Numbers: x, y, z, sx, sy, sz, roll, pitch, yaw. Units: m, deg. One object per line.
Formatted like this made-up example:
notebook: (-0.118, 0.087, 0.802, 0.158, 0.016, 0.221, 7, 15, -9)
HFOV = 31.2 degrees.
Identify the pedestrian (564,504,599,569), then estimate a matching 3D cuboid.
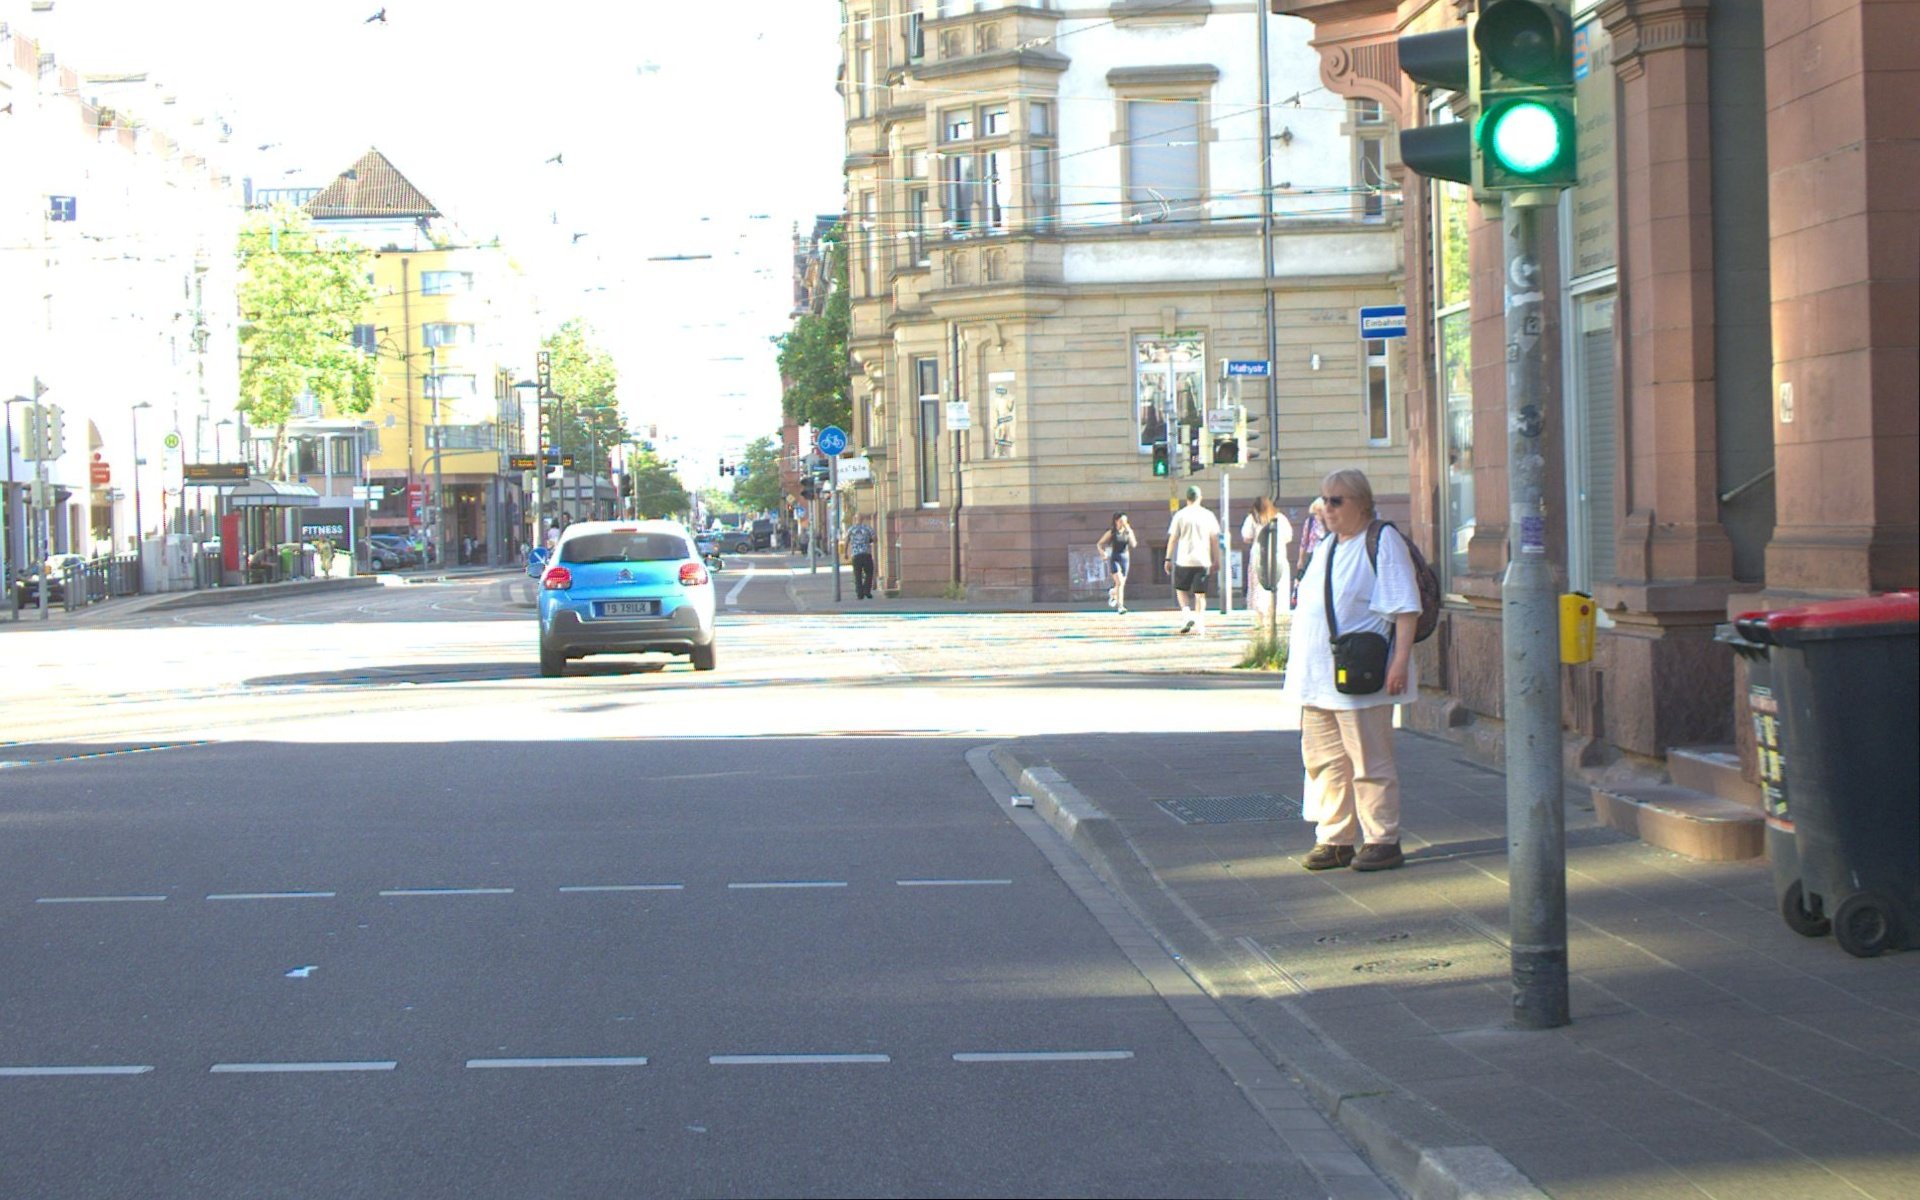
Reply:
pedestrian: (-10.532, -1.766, 95.660, 0.718, 1.771, 0.564, 0, 2, 33)

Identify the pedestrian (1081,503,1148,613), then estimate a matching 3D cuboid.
pedestrian: (2.349, -0.638, 52.210, 0.922, 1.626, 0.942, -2, 0, 5)

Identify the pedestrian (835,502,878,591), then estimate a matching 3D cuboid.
pedestrian: (-2.104, -1.093, 69.875, 0.779, 1.743, 1.093, -1, 3, -6)

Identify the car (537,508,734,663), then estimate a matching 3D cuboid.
car: (-3.165, -0.186, 34.104, 1.781, 1.446, 3.655, 0, 1, -3)

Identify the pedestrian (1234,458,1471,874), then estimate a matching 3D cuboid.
pedestrian: (1.568, 0.248, 13.805, 0.681, 1.602, 0.731, -2, 1, -16)

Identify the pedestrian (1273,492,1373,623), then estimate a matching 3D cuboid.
pedestrian: (4.618, -0.543, 43.690, 0.924, 1.626, 0.940, -1, 0, 29)

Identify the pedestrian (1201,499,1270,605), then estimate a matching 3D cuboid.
pedestrian: (4.065, -0.708, 50.696, 0.633, 1.532, 0.940, -1, 0, 29)

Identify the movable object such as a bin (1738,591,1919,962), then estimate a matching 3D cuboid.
movable object such as a bin: (2.857, 0.532, 10.697, 0.663, 1.069, 0.591, -4, 1, -1)

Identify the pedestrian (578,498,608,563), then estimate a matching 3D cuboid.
pedestrian: (-9.675, -1.827, 90.689, 0.636, 1.692, 0.933, 0, 0, 4)

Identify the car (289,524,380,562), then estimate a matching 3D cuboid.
car: (-29.186, -2.671, 160.476, 3.986, 1.669, 1.958, -1, 2, -6)

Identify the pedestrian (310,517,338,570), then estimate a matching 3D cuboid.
pedestrian: (-19.158, -1.705, 103.513, 0.731, 1.553, 0.743, -1, 2, -4)

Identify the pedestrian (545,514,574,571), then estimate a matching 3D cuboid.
pedestrian: (-11.099, -1.592, 95.189, 0.586, 1.556, 0.469, 0, 2, 33)

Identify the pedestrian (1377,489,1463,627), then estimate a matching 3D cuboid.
pedestrian: (5.581, -0.508, 41.687, 0.923, 1.626, 1.009, -2, 0, 12)

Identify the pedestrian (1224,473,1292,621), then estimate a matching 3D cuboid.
pedestrian: (3.533, -0.622, 40.777, 0.644, 1.739, 0.704, 0, 0, 18)

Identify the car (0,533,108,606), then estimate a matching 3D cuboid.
car: (-25.004, -0.864, 94.603, 2.227, 1.904, 4.610, -1, 1, -4)

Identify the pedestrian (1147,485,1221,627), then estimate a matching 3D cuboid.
pedestrian: (2.664, -0.524, 40.836, 0.701, 1.649, 0.631, -1, 0, 19)

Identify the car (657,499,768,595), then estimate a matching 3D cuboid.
car: (-4.627, -0.984, 64.688, 1.993, 1.737, 4.000, 0, 0, -3)

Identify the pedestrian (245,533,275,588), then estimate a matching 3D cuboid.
pedestrian: (-19.921, -1.124, 97.805, 0.731, 1.522, 0.743, -1, 2, -4)

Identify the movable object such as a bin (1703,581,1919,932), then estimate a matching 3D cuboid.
movable object such as a bin: (2.865, 0.499, 11.275, 0.663, 1.069, 0.545, -4, 1, -1)
